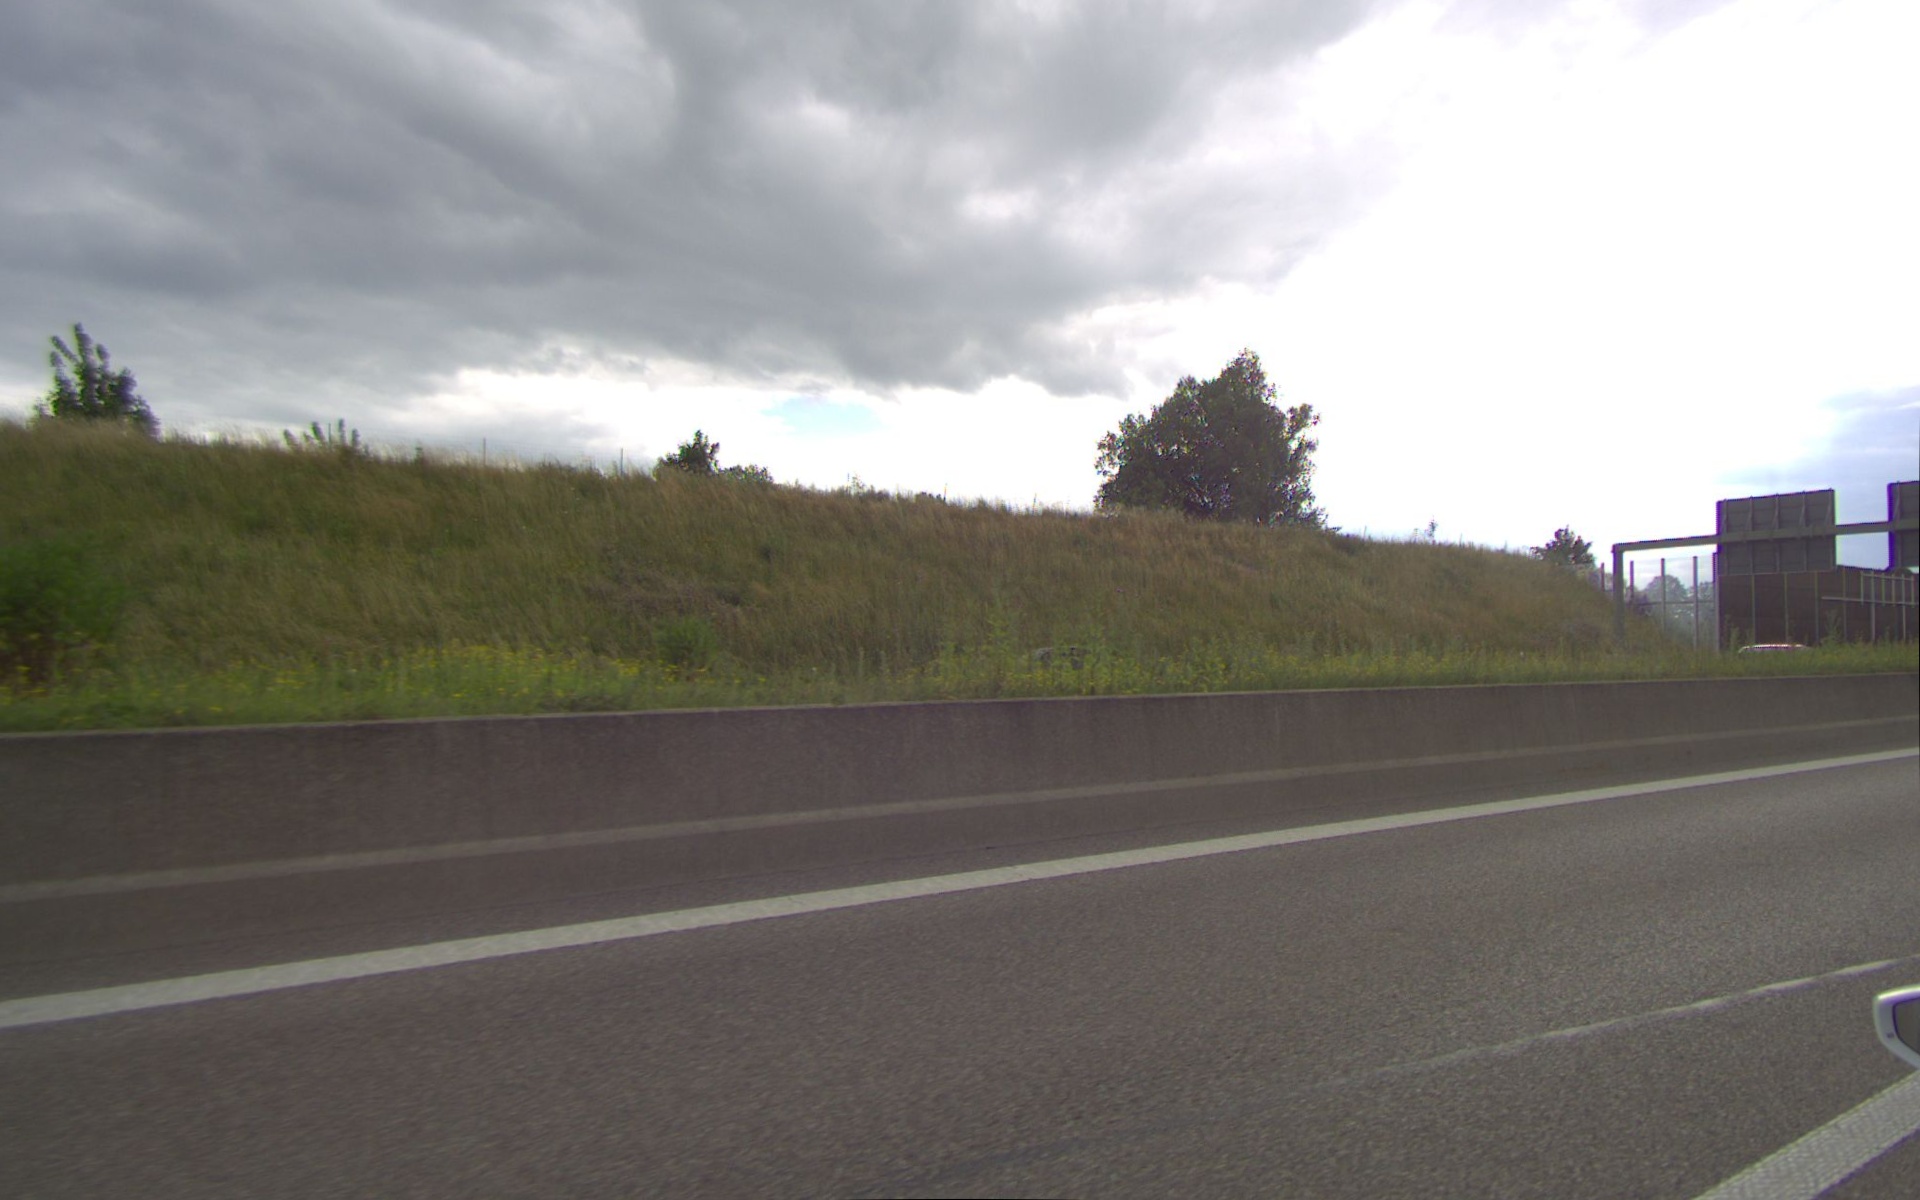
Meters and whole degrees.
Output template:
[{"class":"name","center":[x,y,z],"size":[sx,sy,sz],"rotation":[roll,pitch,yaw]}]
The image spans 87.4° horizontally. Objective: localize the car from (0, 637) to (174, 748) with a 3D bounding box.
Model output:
[{"class":"car","center":[-11.438,1.041,11.600],"size":[3.492,1.222,1.481],"rotation":[1,-2,-30]}]

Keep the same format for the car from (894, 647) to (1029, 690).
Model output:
[{"class":"car","center":[0.066,2.091,31.298],"size":[3.953,1.222,1.645],"rotation":[1,-2,-30]}]

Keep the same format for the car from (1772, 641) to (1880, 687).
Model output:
[{"class":"car","center":[24.635,1.791,28.577],"size":[2.891,1.222,1.481],"rotation":[1,-2,-30]}]

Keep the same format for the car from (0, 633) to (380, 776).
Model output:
[{"class":"car","center":[-7.487,0.957,10.038],"size":[2.891,1.222,1.481],"rotation":[1,-2,-30]}]
